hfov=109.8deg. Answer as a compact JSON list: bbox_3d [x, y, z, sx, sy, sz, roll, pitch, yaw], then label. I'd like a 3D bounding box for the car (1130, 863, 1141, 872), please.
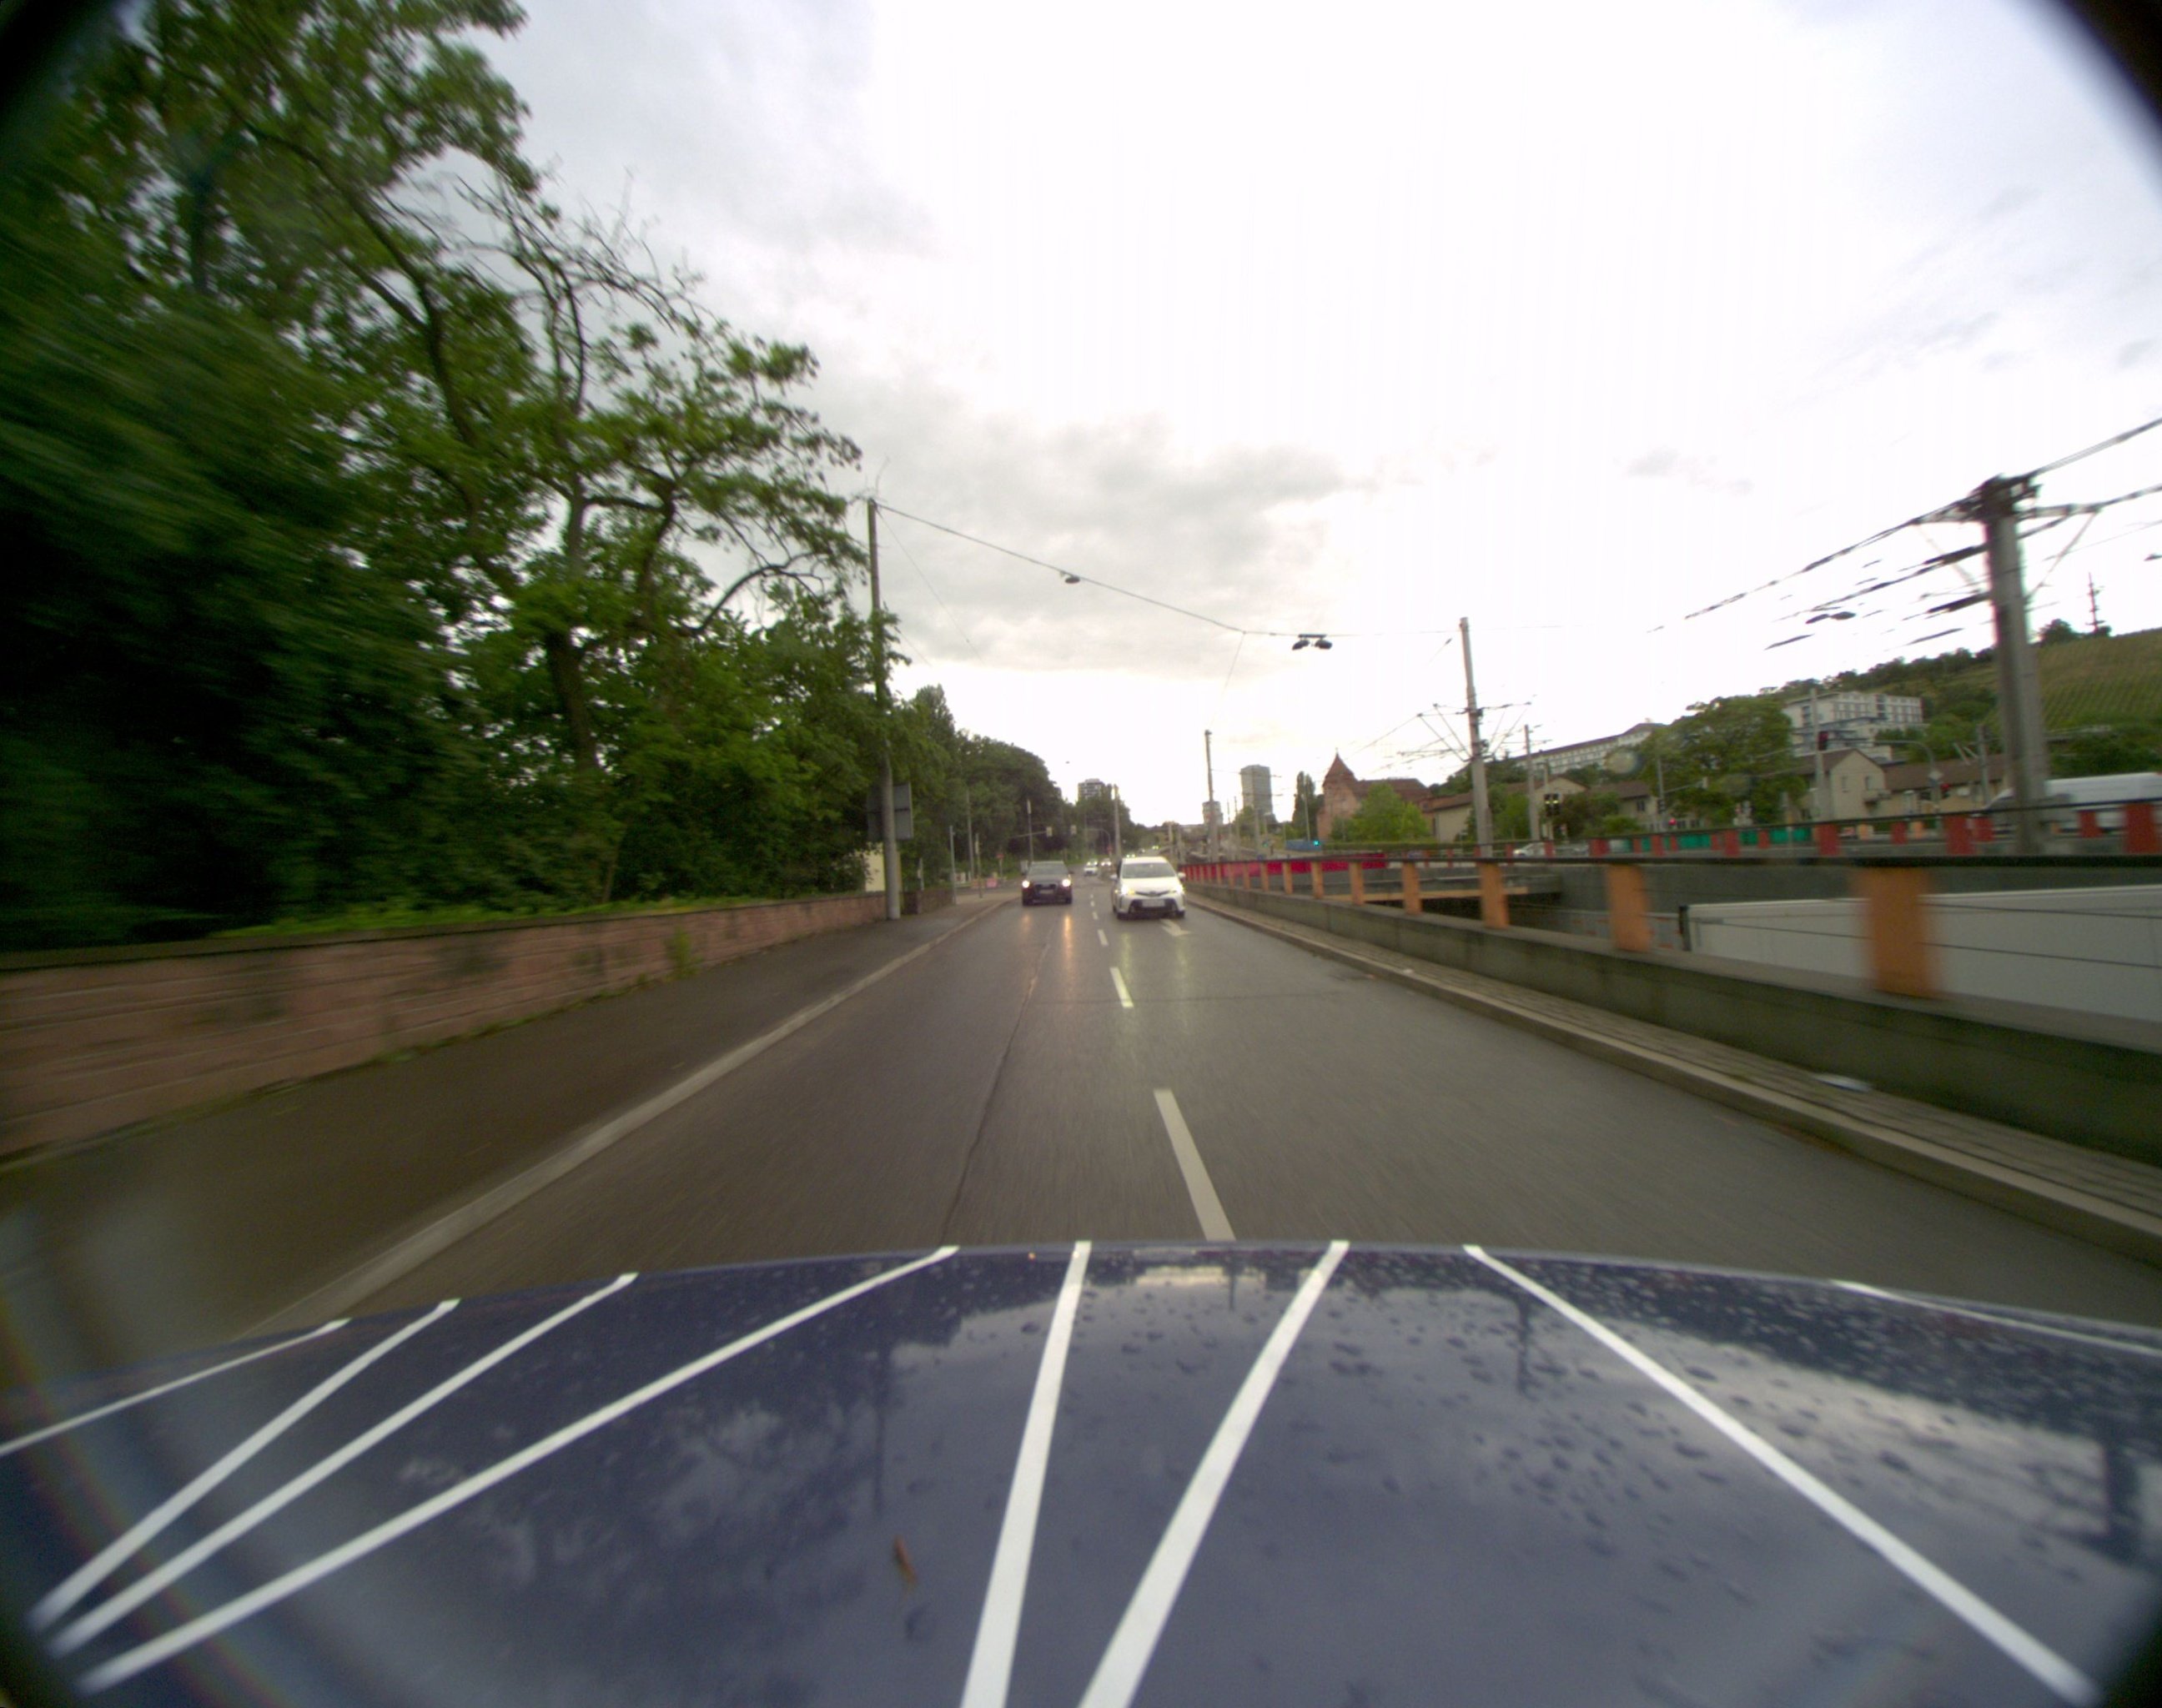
[{"bbox_3d":[10.100,2.528,141.650,1.801,1.463,4.000,-4,1,1],"label":"car"}]

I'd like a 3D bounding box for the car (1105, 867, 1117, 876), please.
[{"bbox_3d":[5.256,3.104,133.216,1.802,1.502,4.002,-4,-3,0],"label":"car"}]

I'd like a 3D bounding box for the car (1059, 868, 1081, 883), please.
[{"bbox_3d":[-1.319,2.612,92.740,1.738,1.577,4.004,-8,-3,10],"label":"car"}]

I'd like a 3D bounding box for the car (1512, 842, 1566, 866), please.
[{"bbox_3d":[44.070,-0.039,73.150,3.993,2.002,2.001,-3,2,13],"label":"car"}]

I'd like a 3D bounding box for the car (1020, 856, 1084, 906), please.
[{"bbox_3d":[-1.007,0.959,28.768,1.855,1.578,4.001,-4,1,5],"label":"car"}]

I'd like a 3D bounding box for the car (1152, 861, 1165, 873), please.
[{"bbox_3d":[12.058,2.004,118.019,1.737,1.578,4.002,-3,1,9],"label":"car"}]

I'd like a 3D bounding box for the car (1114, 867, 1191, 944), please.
[{"bbox_3d":[1.860,1.318,20.784,1.855,1.741,4.000,-2,1,3],"label":"car"}]

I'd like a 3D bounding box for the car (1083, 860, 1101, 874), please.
[{"bbox_3d":[1.514,1.770,101.835,1.737,1.578,4.002,-3,1,9],"label":"car"}]

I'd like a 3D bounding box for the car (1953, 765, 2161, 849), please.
[{"bbox_3d":[37.554,-1.645,28.965,1.999,2.815,5.717,-2,0,0],"label":"car"}]

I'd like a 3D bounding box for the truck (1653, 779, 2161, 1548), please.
[{"bbox_3d":[7.191,1.523,1.021,2.769,4.171,13.034,-2,-2,0],"label":"truck"}]
